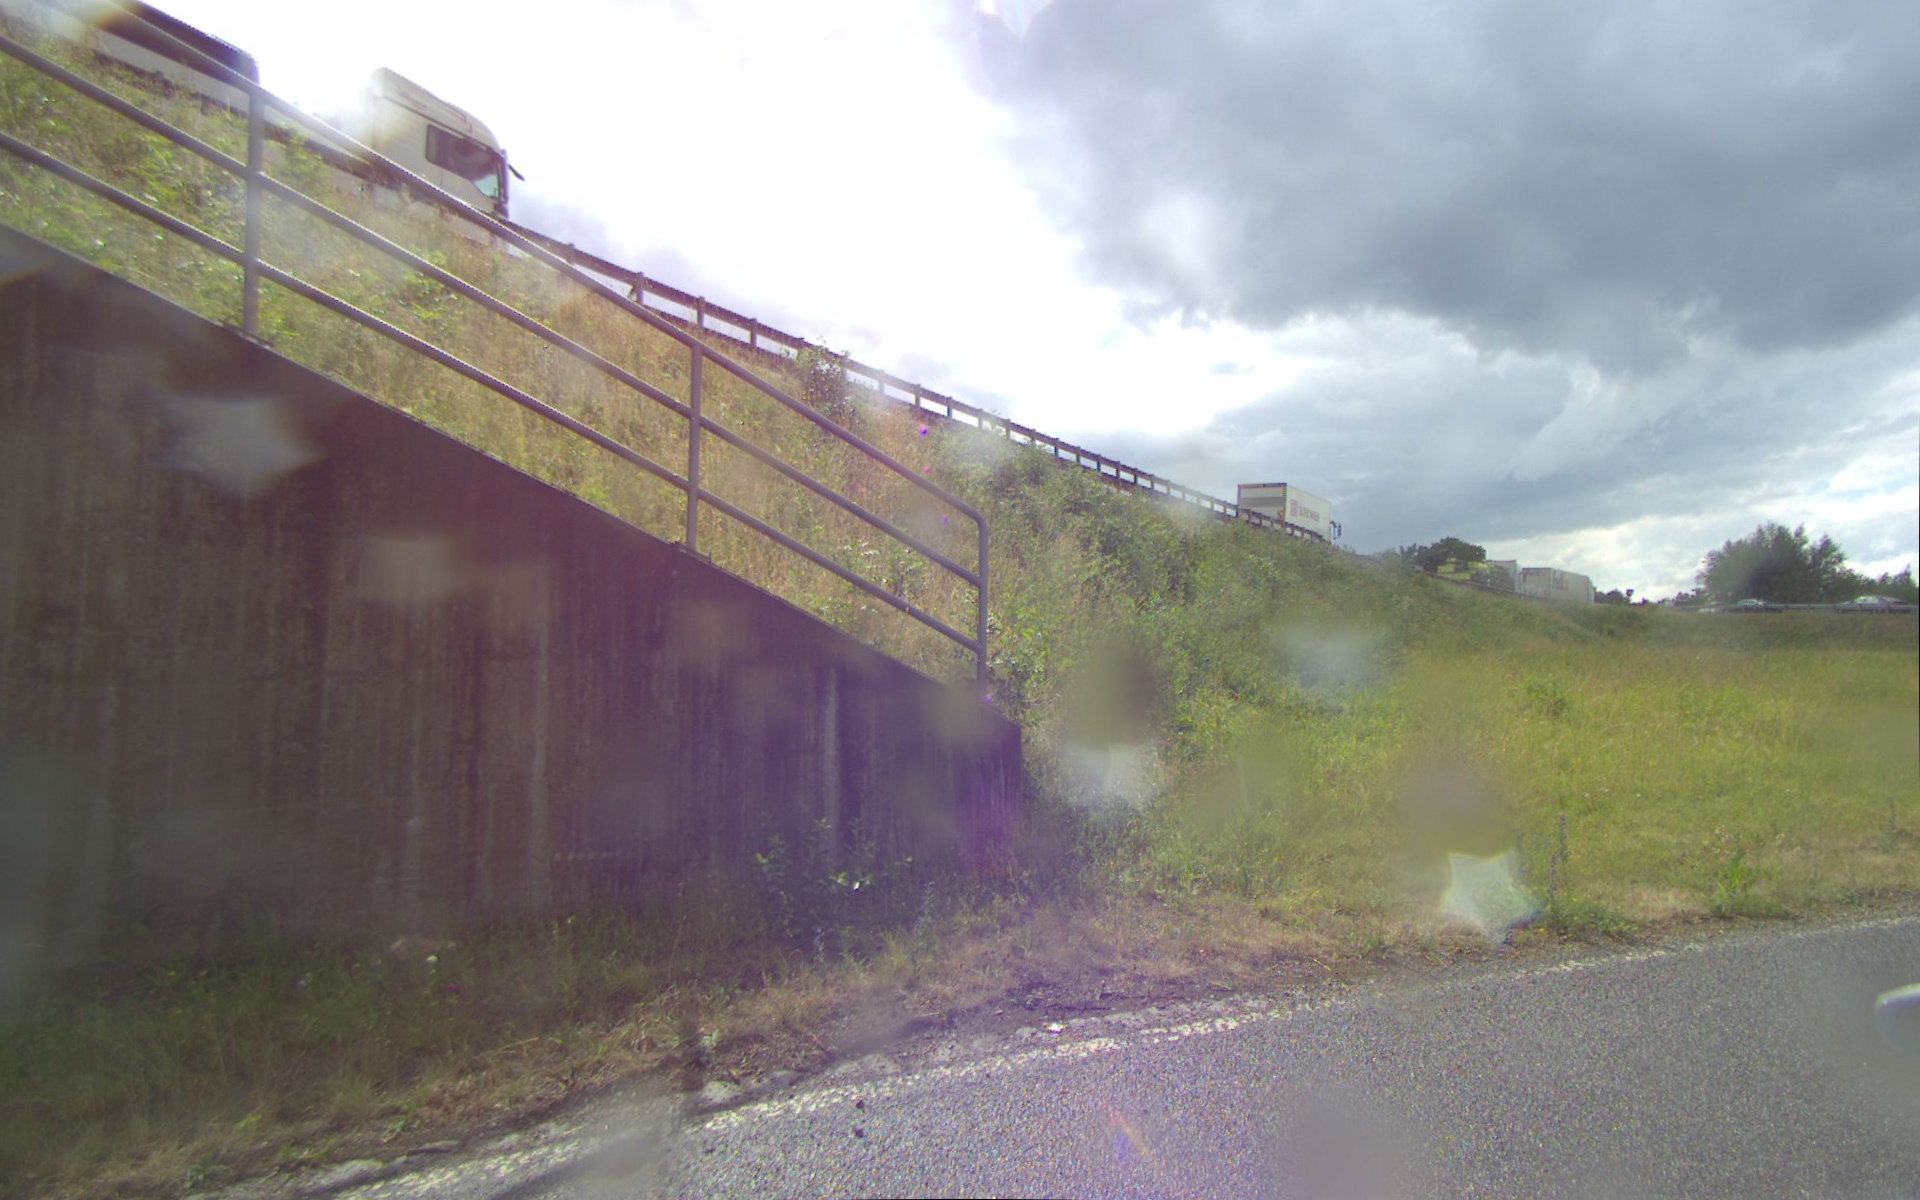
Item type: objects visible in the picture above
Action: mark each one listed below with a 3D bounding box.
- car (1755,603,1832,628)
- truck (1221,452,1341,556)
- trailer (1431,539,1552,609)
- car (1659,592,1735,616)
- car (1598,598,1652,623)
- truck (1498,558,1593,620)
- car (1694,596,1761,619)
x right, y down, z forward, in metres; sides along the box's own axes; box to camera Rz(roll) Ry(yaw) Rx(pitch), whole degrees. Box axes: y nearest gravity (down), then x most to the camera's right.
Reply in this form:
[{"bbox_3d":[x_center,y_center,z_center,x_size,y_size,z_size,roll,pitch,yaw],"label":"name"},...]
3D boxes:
[{"bbox_3d":[68.898,1.326,83.132,1.971,1.885,4.489,2,-3,-22],"label":"car"},{"bbox_3d":[17.064,-4.831,52.901,3.140,4.017,9.206,1,-4,37],"label":"truck"},{"bbox_3d":[45.263,-1.914,84.881,4.364,4.007,20.118,0,-4,42],"label":"trailer"},{"bbox_3d":[64.213,0.411,87.580,1.974,1.885,5.025,2,-3,-26],"label":"car"},{"bbox_3d":[59.481,0.936,89.913,3.936,2.040,1.821,1,-3,37],"label":"car"},{"bbox_3d":[58.165,-0.886,99.336,4.410,4.561,19.281,0,-4,42],"label":"truck"},{"bbox_3d":[70.079,0.677,91.809,1.962,1.885,5.054,1,-3,-6],"label":"car"}]
